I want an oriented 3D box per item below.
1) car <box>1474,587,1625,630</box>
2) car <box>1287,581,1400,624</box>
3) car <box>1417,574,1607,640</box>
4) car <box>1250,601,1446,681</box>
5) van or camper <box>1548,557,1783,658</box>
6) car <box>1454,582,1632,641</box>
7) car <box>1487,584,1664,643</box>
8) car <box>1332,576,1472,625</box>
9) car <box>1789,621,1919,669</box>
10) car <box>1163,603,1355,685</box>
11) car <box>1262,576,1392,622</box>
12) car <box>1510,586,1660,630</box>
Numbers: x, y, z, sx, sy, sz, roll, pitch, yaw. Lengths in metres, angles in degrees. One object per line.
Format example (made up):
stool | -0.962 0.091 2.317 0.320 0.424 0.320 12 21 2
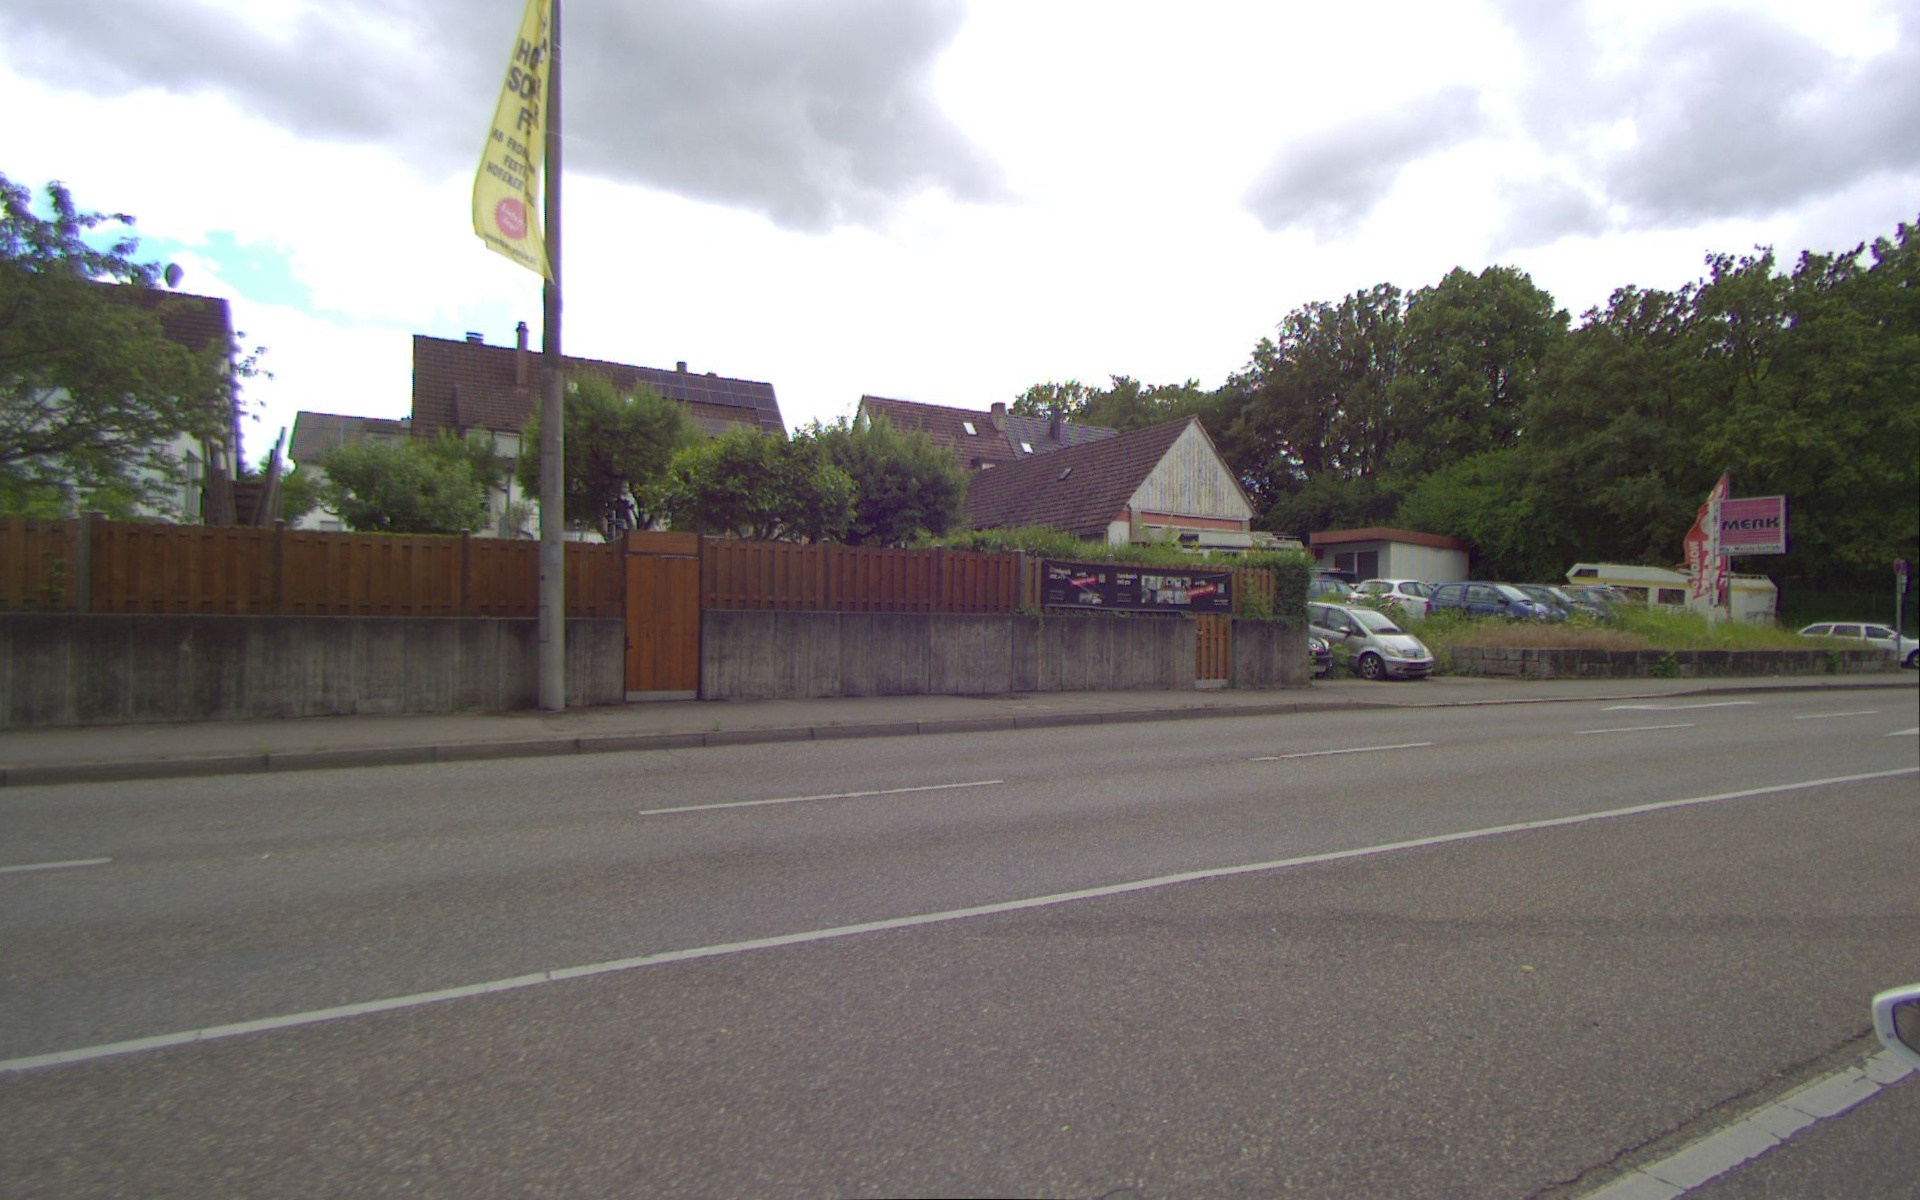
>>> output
car | 19.494 0.248 33.380 1.863 1.285 3.914 2 0 -28
car | 15.560 0.099 40.712 4.349 1.549 1.984 2 0 -30
car | 14.094 0.155 25.892 1.834 1.517 3.975 2 0 -25
car | 9.012 0.911 23.663 1.976 1.639 3.970 2 0 -28
van or camper | 28.384 0.180 40.813 2.763 3.417 7.107 1 4 -29
car | 15.572 0.262 27.032 1.513 1.430 3.975 2 0 -25
car | 17.141 0.331 28.188 1.625 1.512 3.975 2 0 -25
car | 13.507 0.039 30.632 4.353 1.359 1.837 1 -1 -33
car | 31.877 1.557 34.912 1.940 1.460 4.350 1 0 -32
car | 6.747 0.945 23.054 1.976 1.625 3.970 2 0 -28
car | 12.035 -0.033 32.875 4.237 1.336 1.660 2 0 -31
car | 21.665 0.253 34.980 1.973 1.388 3.975 2 0 -25
